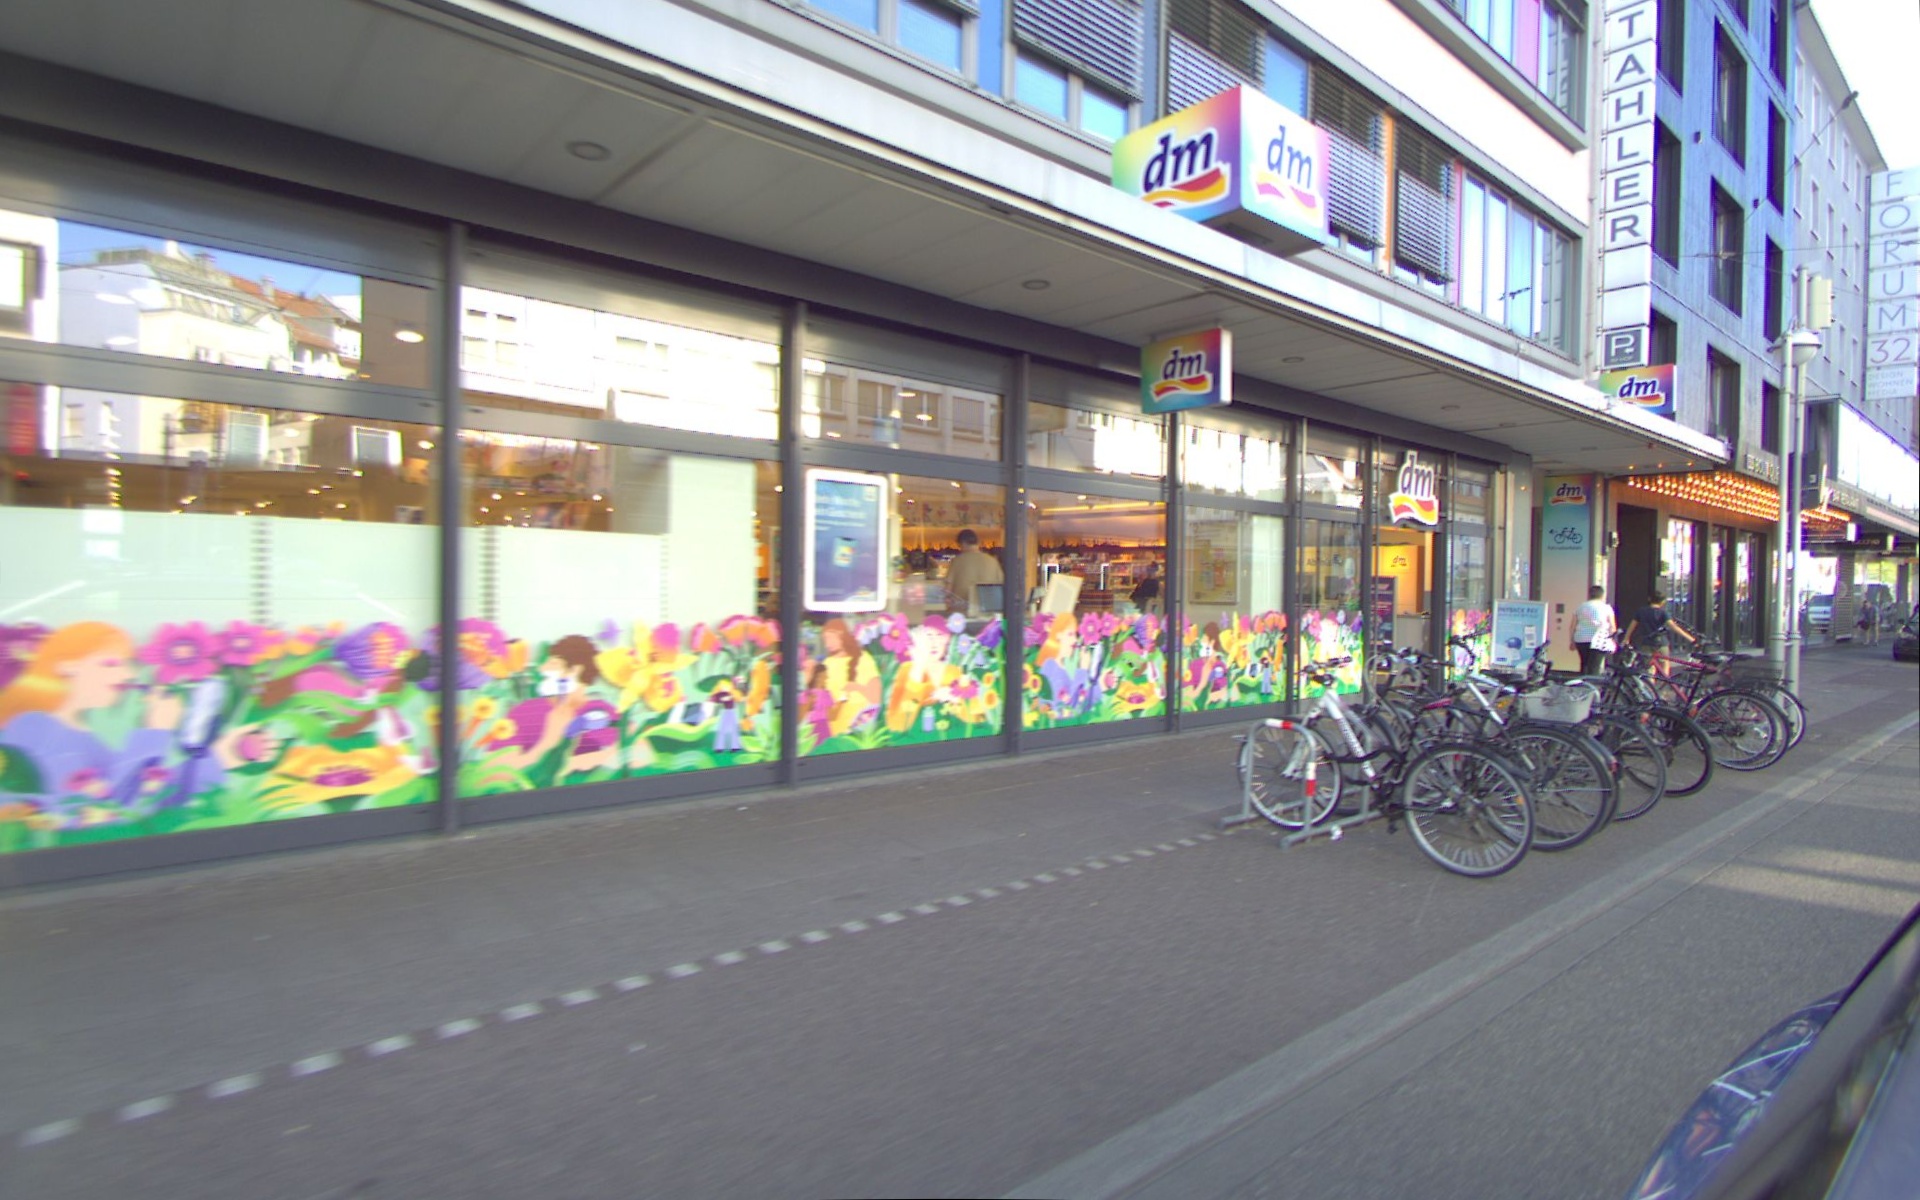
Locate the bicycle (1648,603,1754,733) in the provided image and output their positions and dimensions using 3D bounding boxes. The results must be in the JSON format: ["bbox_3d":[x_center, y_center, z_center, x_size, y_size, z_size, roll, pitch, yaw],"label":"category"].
[{"bbox_3d":[8.133,0.700,11.085,1.574,1.272,0.582,0,3,-42],"label":"bicycle"}]

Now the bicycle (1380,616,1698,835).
[{"bbox_3d":[3.929,0.772,7.003,0.577,1.232,1.791,0,2,-41],"label":"bicycle"}]

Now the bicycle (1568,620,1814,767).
[{"bbox_3d":[6.736,0.813,9.399,1.774,1.145,0.471,3,2,45],"label":"bicycle"}]

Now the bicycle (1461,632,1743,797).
[{"bbox_3d":[5.036,0.841,8.044,0.586,1.044,1.777,0,2,-41],"label":"bicycle"}]

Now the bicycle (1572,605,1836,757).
[{"bbox_3d":[7.329,0.740,10.065,2.034,1.290,0.517,3,2,41],"label":"bicycle"}]

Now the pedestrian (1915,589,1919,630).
[{"bbox_3d":[36.802,0.362,38.402,0.800,1.527,0.696,0,1,-41],"label":"pedestrian"}]

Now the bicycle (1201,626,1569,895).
[{"bbox_3d":[2.318,0.790,5.726,0.657,1.174,1.791,0,2,-41],"label":"bicycle"}]

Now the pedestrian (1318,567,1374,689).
[{"bbox_3d":[4.962,0.339,13.053,0.576,1.504,0.594,3,3,19],"label":"pedestrian"}]

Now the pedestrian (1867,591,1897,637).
[{"bbox_3d":[30.550,0.455,33.537,0.718,1.457,0.577,0,3,-41],"label":"pedestrian"}]

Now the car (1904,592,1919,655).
[{"bbox_3d":[25.301,0.590,25.480,4.339,1.502,1.725,-1,3,-41],"label":"car"}]

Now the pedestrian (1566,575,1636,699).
[{"bbox_3d":[8.697,0.479,13.732,0.587,1.605,0.582,0,3,-42],"label":"pedestrian"}]

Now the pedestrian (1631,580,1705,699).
[{"bbox_3d":[9.406,0.512,13.462,0.575,1.511,0.523,3,2,14],"label":"pedestrian"}]

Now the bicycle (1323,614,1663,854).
[{"bbox_3d":[3.340,0.755,6.498,0.657,1.232,1.791,0,2,-41],"label":"bicycle"}]
